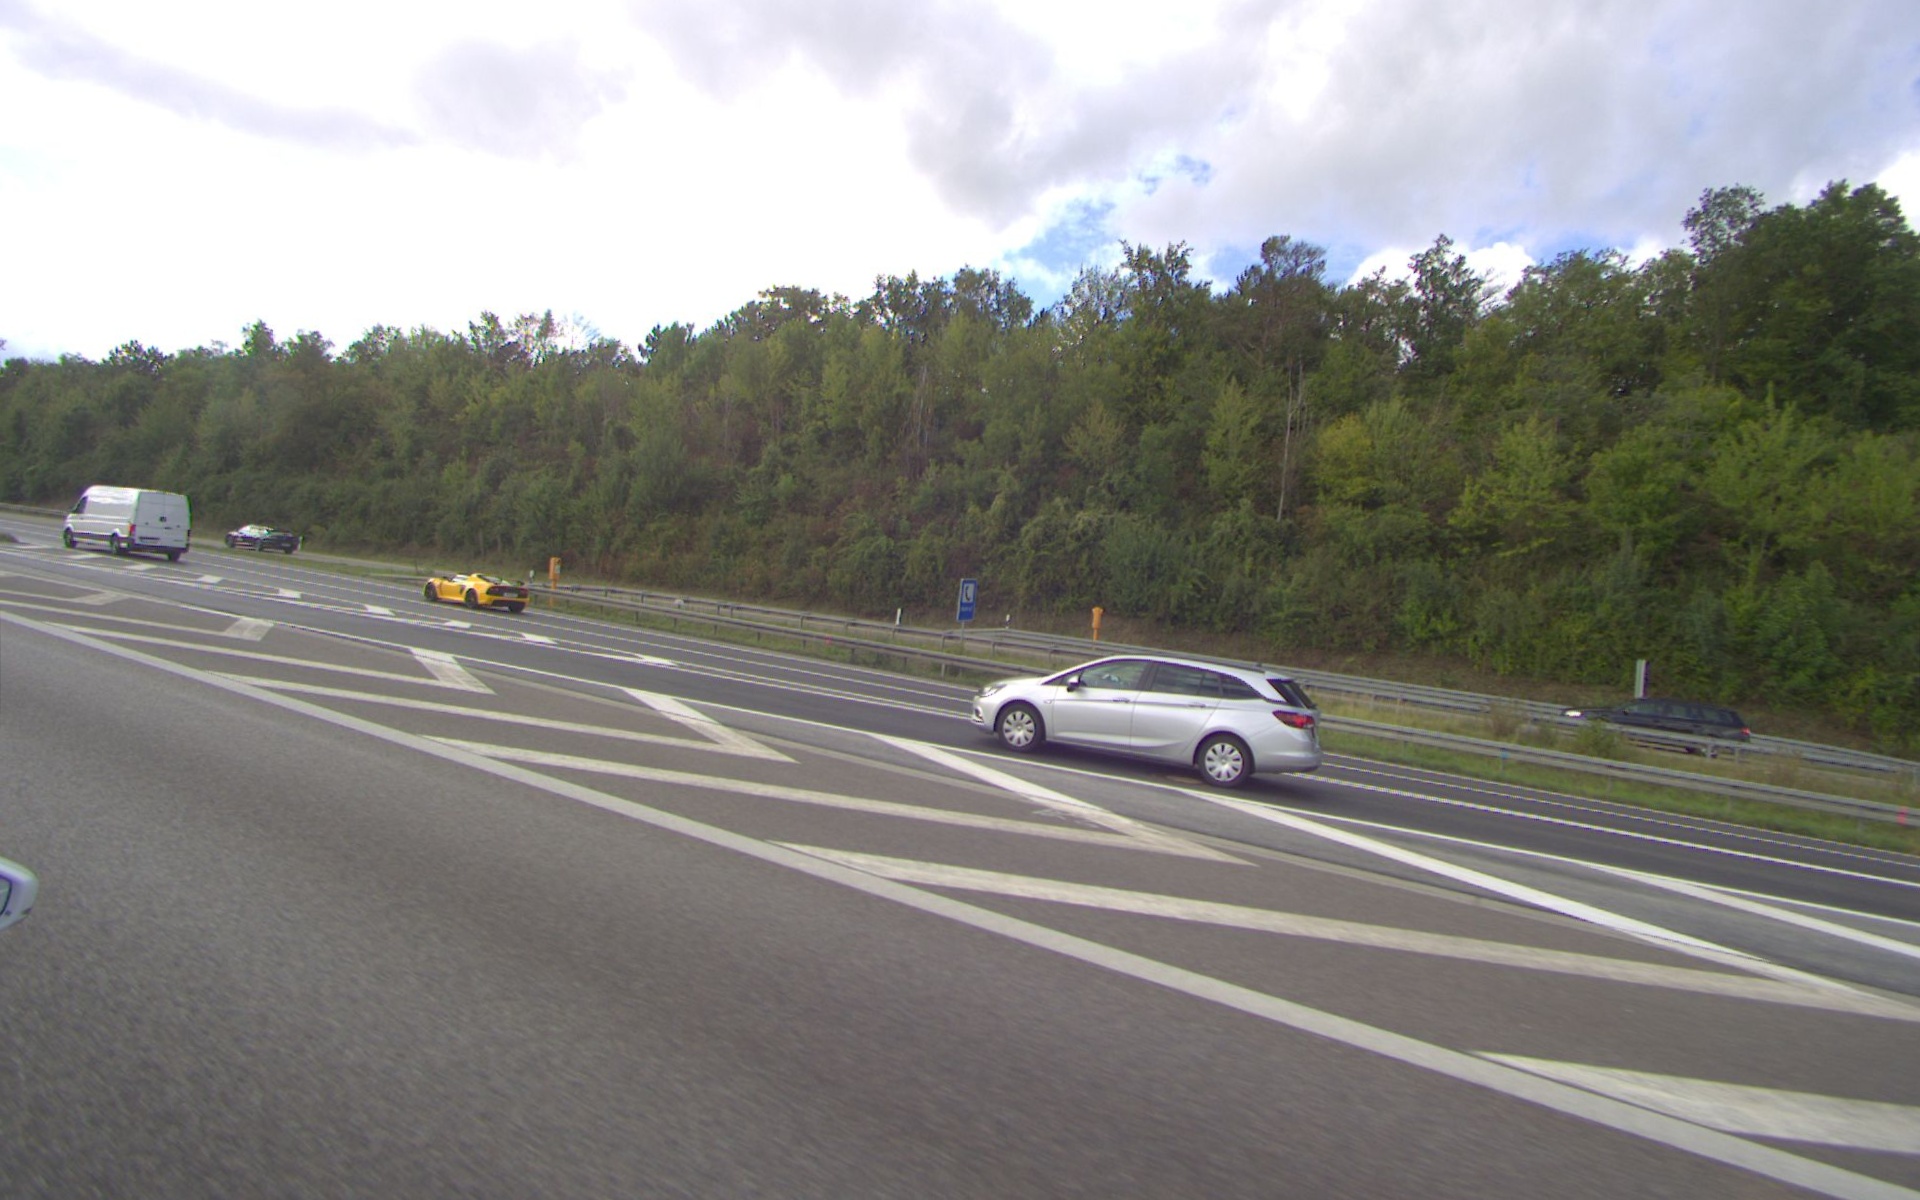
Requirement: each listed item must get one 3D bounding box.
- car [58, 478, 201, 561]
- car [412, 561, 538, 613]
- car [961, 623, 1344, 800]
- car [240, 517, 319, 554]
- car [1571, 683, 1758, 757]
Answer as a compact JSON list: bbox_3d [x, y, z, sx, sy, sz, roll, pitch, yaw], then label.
[{"bbox_3d":[-32.684,-3.193,39.539,6.629,2.586,2.072,7,1,31],"label":"car"},{"bbox_3d":[-16.102,-0.449,33.380,4.099,1.196,1.715,7,-1,31],"label":"car"},{"bbox_3d":[2.485,1.353,13.160,4.532,1.503,1.688,7,-1,24],"label":"car"},{"bbox_3d":[-39.006,-3.700,57.613,4.684,1.623,1.844,7,1,31],"label":"car"},{"bbox_3d":[20.374,3.443,29.322,4.095,1.433,1.716,7,0,27],"label":"car"}]
